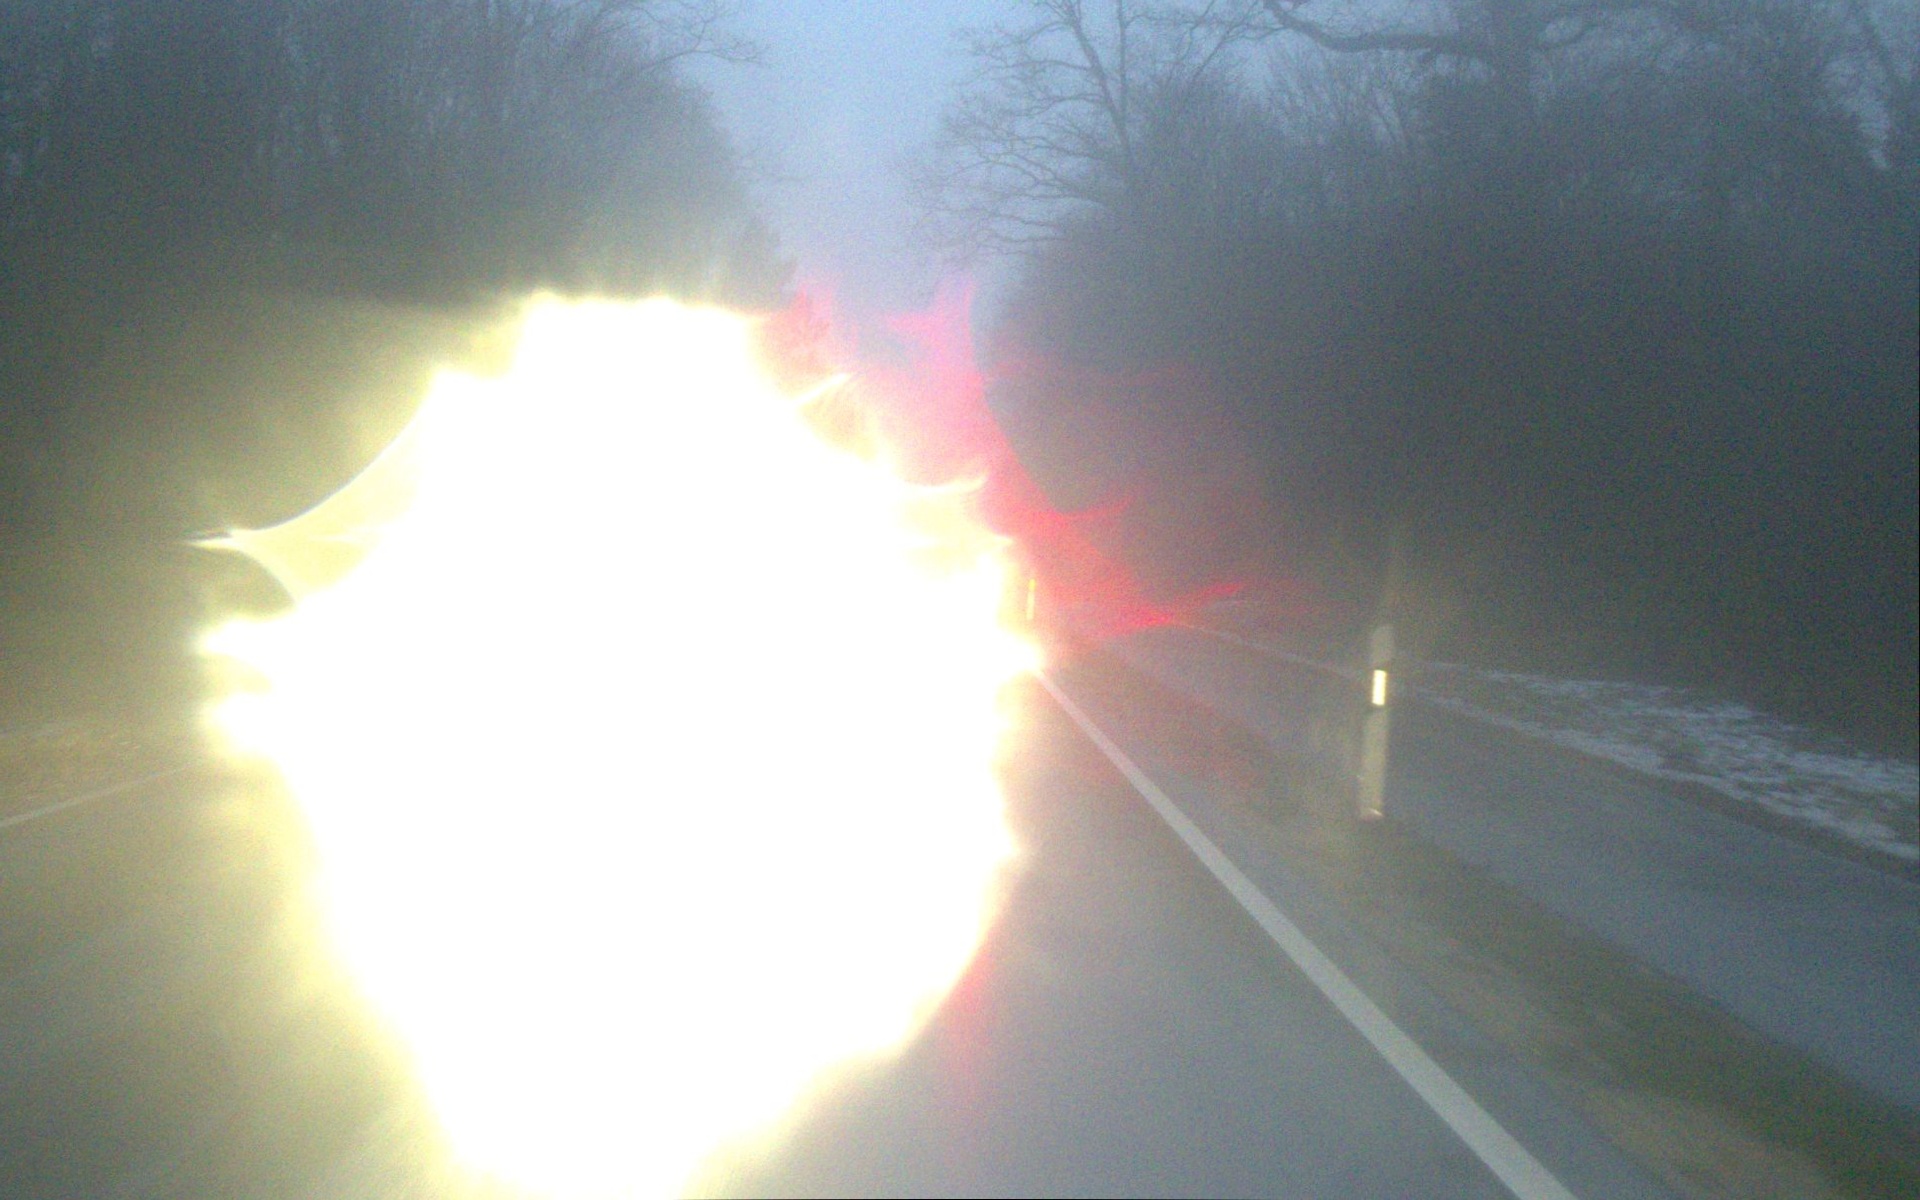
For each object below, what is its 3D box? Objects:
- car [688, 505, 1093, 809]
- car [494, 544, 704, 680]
[{"bbox_3d":[-0.537,0.421,30.668,3.183,2.378,6.636,1,1,0],"label":"car"},{"bbox_3d":[-4.487,0.107,43.461,1.975,1.562,4.927,-1,1,2],"label":"car"}]
